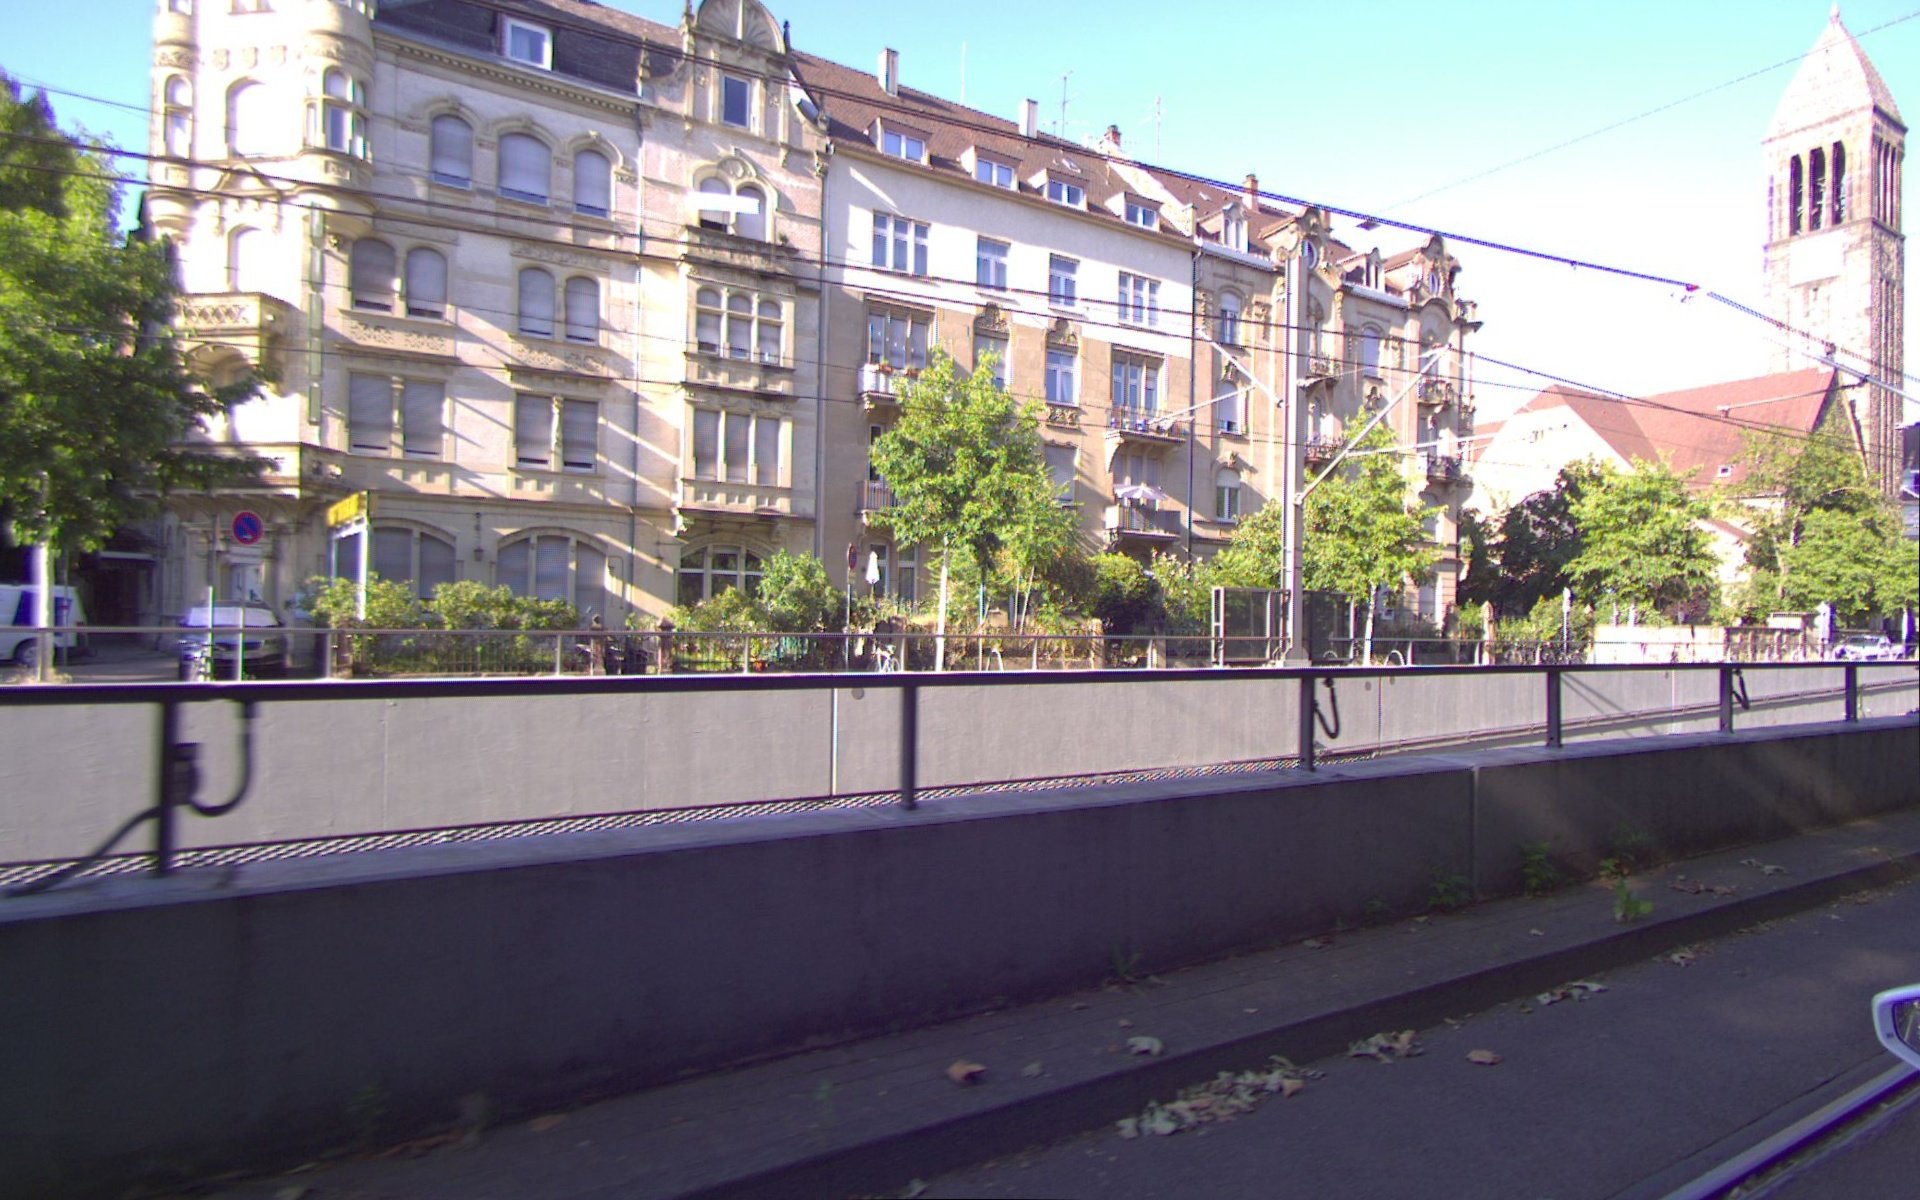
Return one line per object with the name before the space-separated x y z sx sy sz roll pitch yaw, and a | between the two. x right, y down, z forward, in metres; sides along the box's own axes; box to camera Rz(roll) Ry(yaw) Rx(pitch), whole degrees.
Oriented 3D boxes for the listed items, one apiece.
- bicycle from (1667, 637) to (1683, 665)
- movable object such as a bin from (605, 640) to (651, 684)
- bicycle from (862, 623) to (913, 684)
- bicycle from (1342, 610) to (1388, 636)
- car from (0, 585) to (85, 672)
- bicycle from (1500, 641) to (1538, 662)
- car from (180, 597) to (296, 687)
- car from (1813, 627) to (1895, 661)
bicycle | 29.600 2.106 41.593 0.479 1.036 1.886 3 2 35
movable object such as a bin | -7.722 1.418 23.346 0.776 0.932 0.890 1 2 -36
bicycle | -1.665 1.189 22.741 0.591 1.296 1.726 1 -1 -24
bicycle | 16.839 0.959 41.751 2.084 1.032 0.503 2 2 -27
car | -22.784 0.620 22.737 4.447 1.874 1.975 1 2 -43
bicycle | 23.074 2.117 41.463 1.864 0.811 0.414 2 2 -28
car | -15.549 0.829 21.543 1.810 1.646 3.955 1 1 -39
car | 45.725 2.258 51.362 4.455 1.576 1.708 2 2 -29
